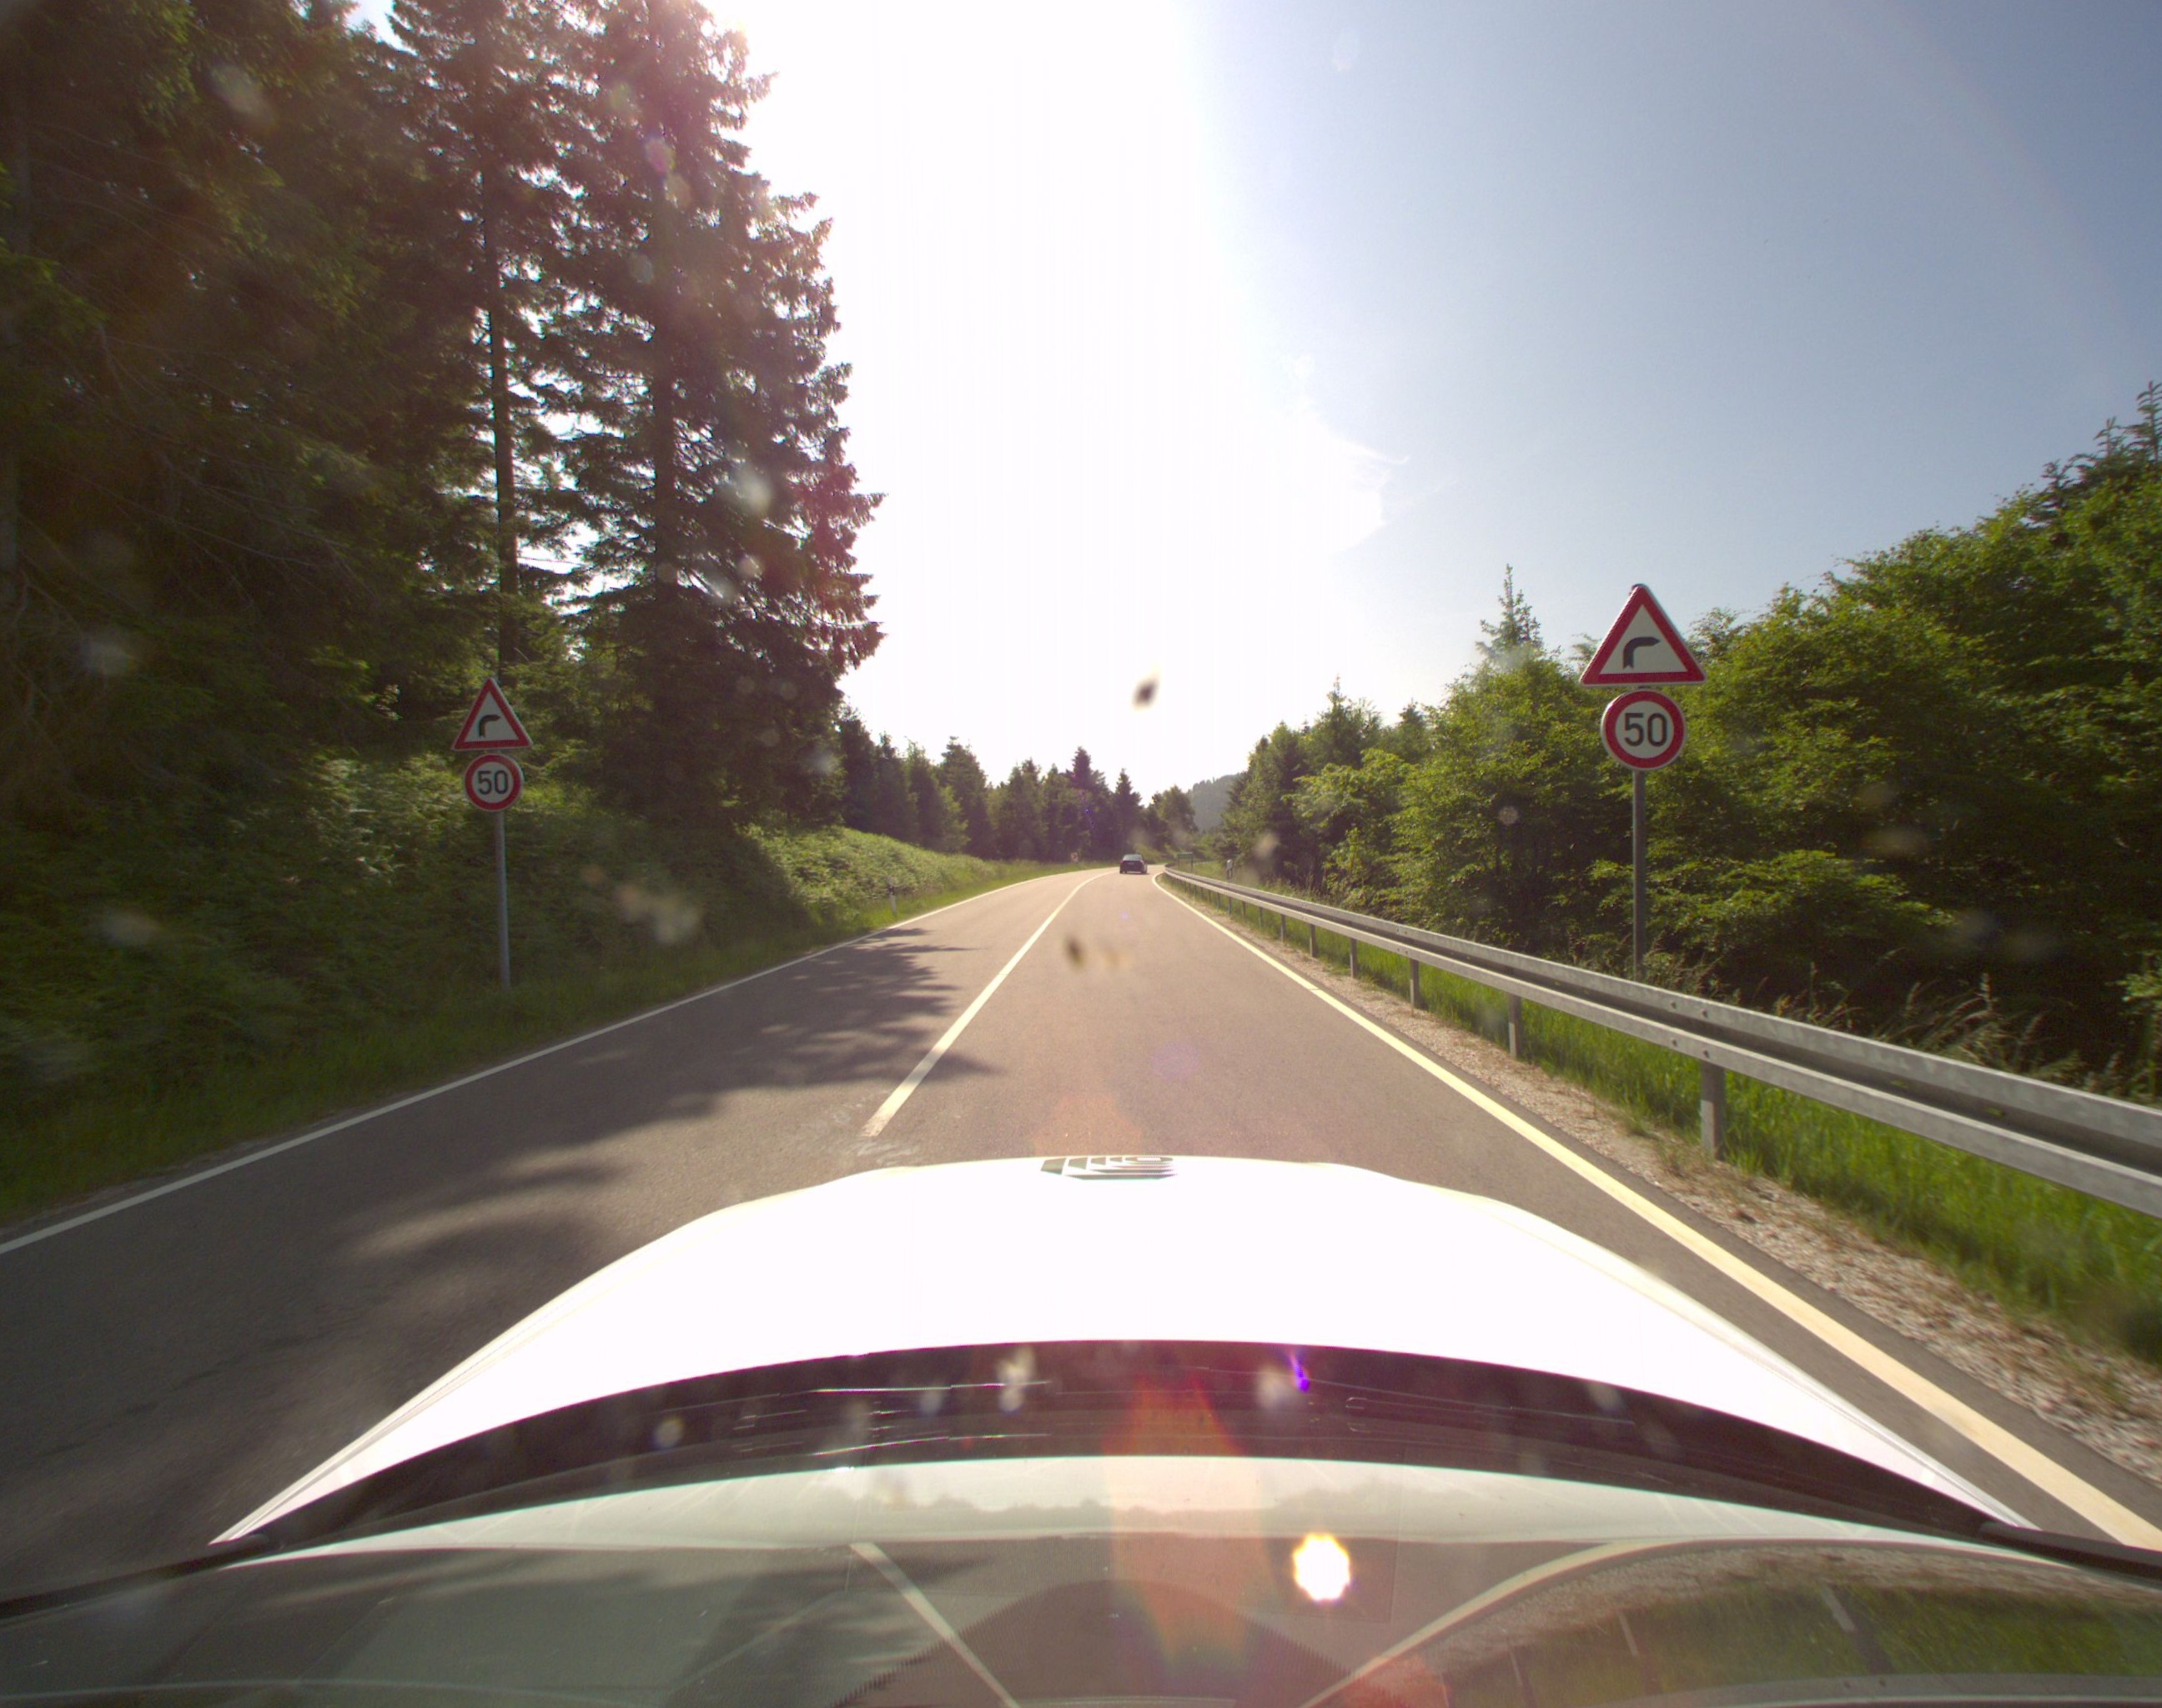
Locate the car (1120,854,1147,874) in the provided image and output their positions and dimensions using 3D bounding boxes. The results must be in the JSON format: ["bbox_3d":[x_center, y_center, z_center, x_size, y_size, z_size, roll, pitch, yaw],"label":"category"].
[{"bbox_3d":[3.904,0.717,60.450,1.766,1.442,3.717,0,0,8],"label":"car"}]
